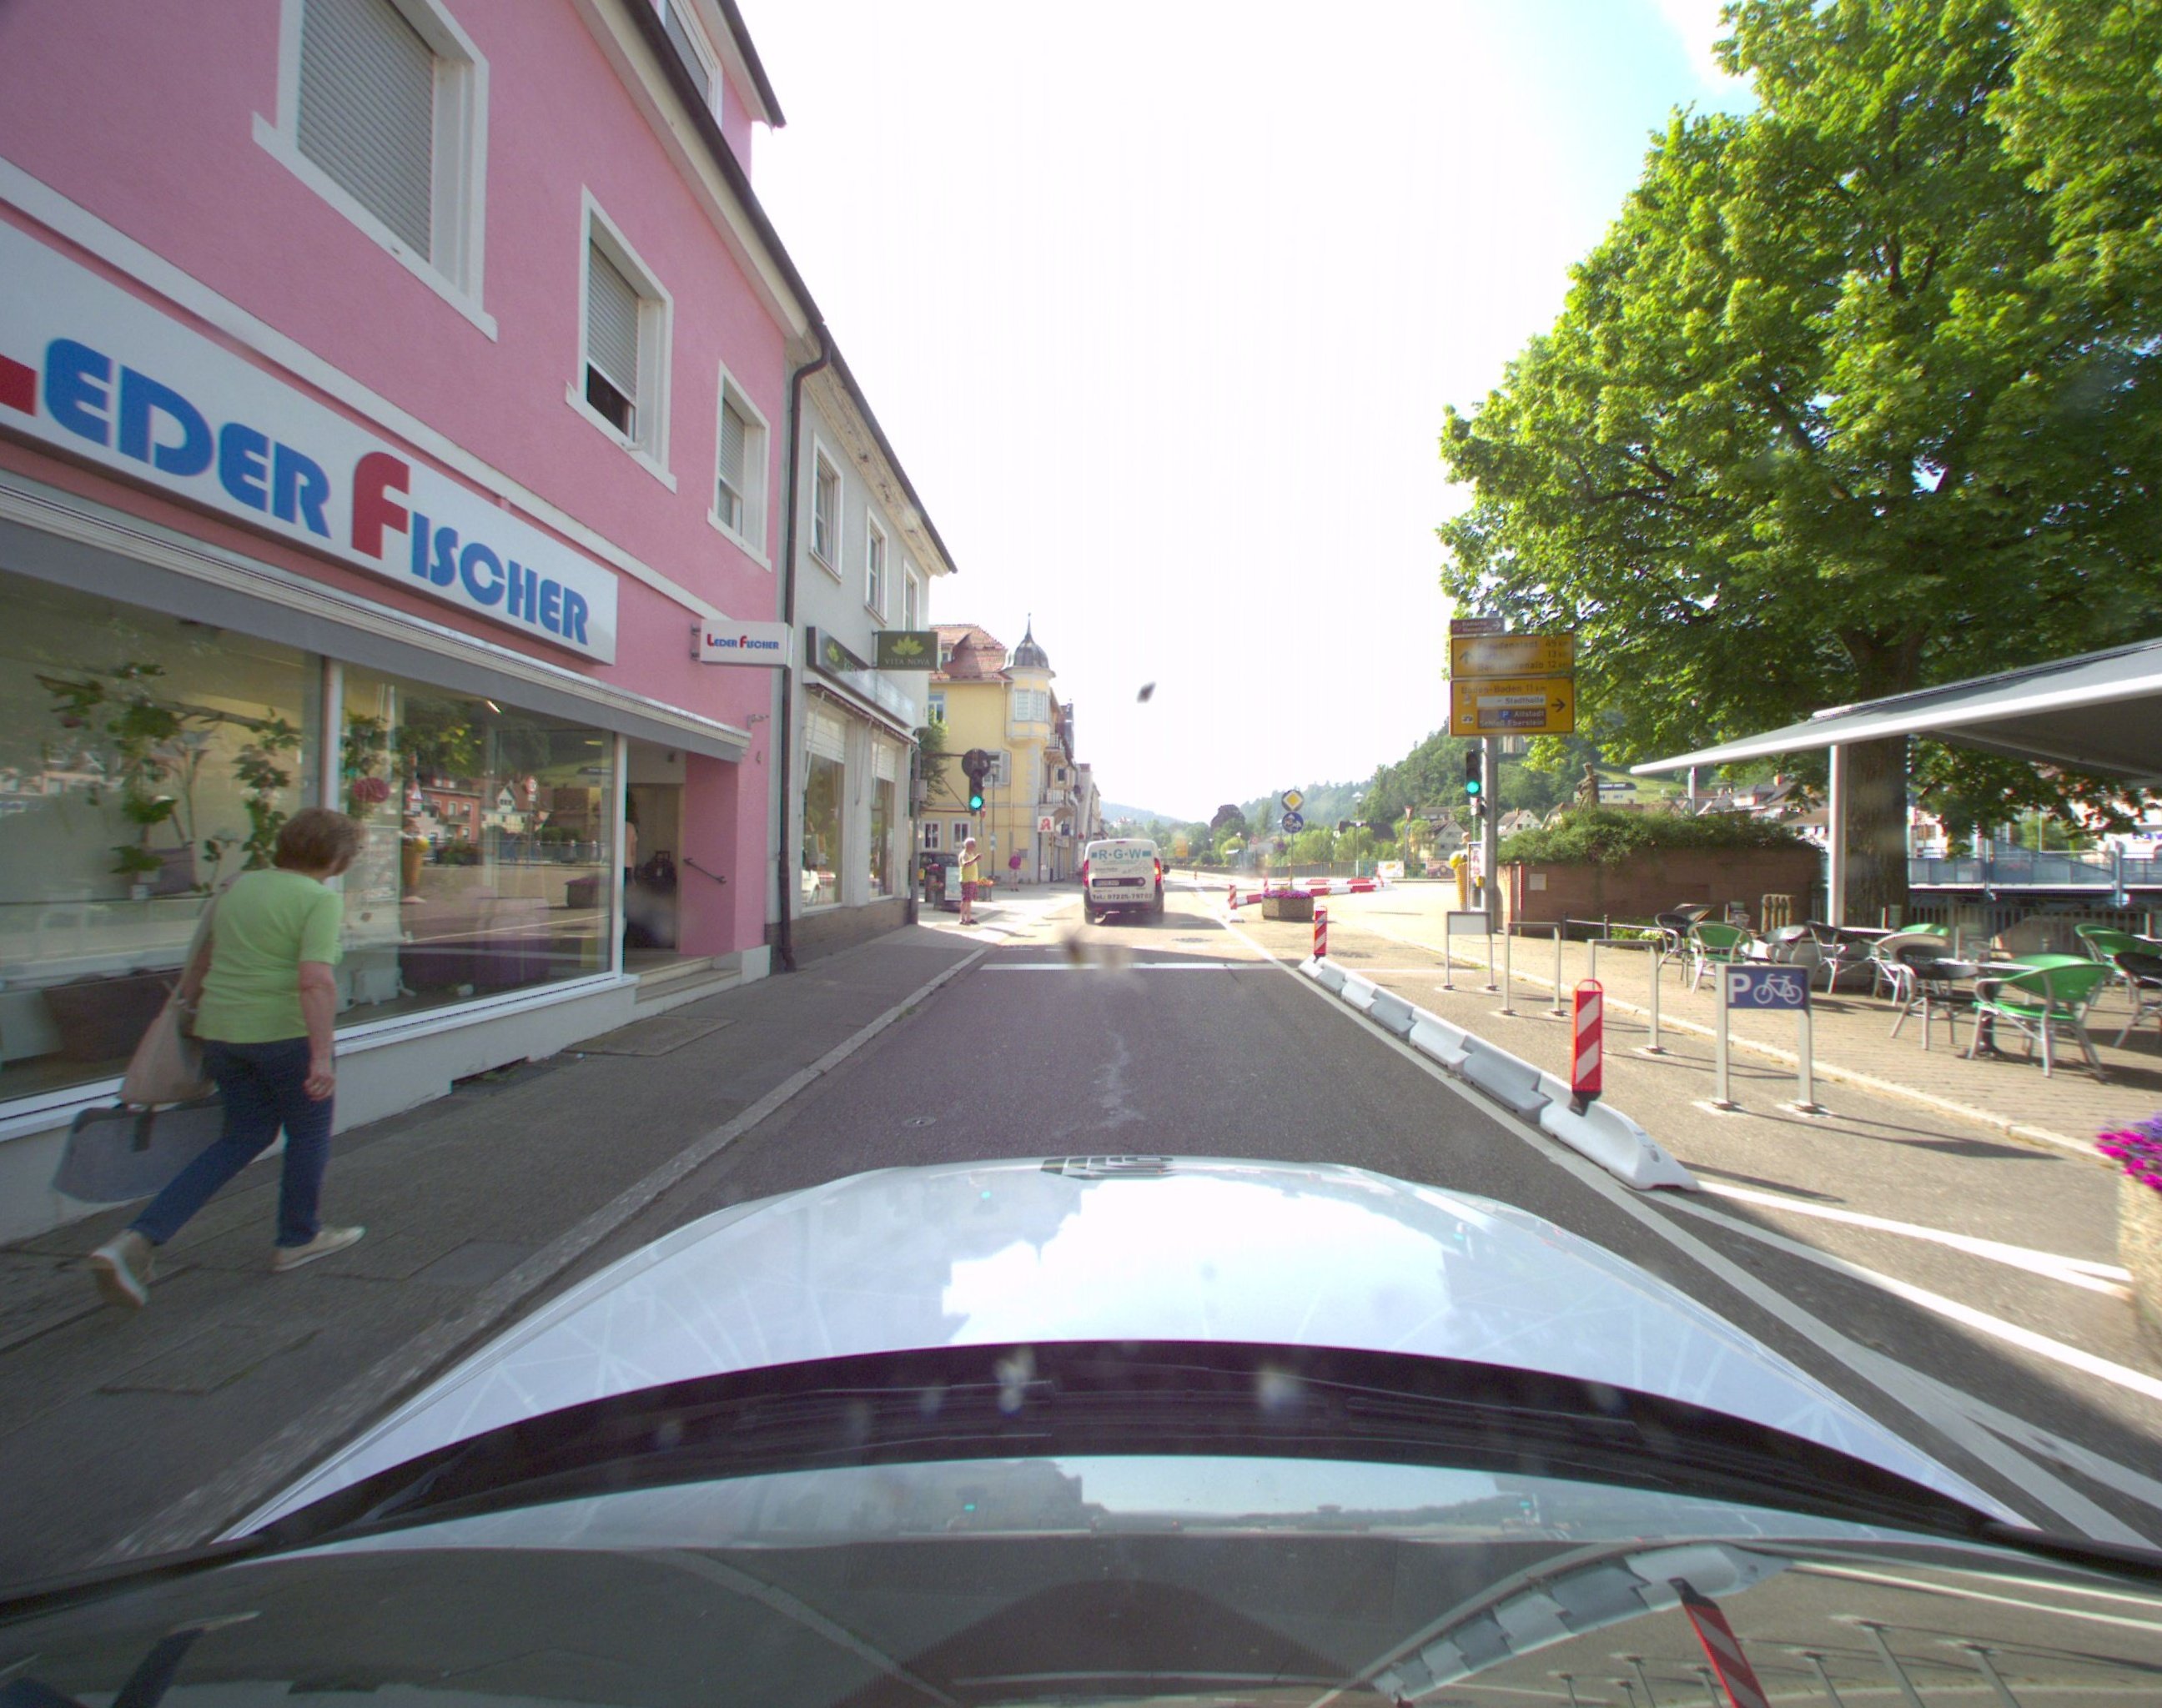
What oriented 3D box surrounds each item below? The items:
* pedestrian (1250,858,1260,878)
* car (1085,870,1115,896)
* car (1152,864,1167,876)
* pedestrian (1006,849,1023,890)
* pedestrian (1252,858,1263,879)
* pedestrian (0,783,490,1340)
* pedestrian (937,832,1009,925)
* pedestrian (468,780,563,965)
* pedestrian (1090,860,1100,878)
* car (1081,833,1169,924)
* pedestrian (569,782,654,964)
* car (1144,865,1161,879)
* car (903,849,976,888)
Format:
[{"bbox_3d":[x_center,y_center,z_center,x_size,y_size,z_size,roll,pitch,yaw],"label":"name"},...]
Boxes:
[{"bbox_3d":[15.000,1.235,70.073,0.785,1.706,0.492,0,-1,5],"label":"pedestrian"},{"bbox_3d":[1.243,1.802,52.007,1.839,1.568,3.569,0,-1,2],"label":"car"},{"bbox_3d":[11.185,2.230,116.005,1.985,1.662,4.003,1,-1,3],"label":"car"},{"bbox_3d":[-2.820,0.666,34.744,0.676,1.714,0.617,1,0,-2],"label":"pedestrian"},{"bbox_3d":[15.041,1.227,69.406,0.862,1.706,0.778,0,-1,5],"label":"pedestrian"},{"bbox_3d":[-2.857,0.618,2.890,0.782,1.632,0.860,3,0,5],"label":"pedestrian"},{"bbox_3d":[-2.255,0.512,16.988,1.008,1.815,0.913,4,-1,42],"label":"pedestrian"},{"bbox_3d":[-5.472,0.171,7.908,0.575,1.722,0.568,0,0,-13],"label":"pedestrian"},{"bbox_3d":[1.285,1.383,75.939,0.682,1.696,0.664,-1,-1,30],"label":"pedestrian"},{"bbox_3d":[1.159,0.515,19.548,1.835,1.906,4.322,1,0,6],"label":"car"},{"bbox_3d":[-4.729,0.179,8.198,0.718,1.722,0.667,0,0,-33],"label":"pedestrian"},{"bbox_3d":[8.841,2.158,100.586,1.985,1.662,4.003,1,-1,3],"label":"car"},{"bbox_3d":[-6.429,0.622,36.677,1.929,1.543,3.921,1,1,-31],"label":"car"}]
